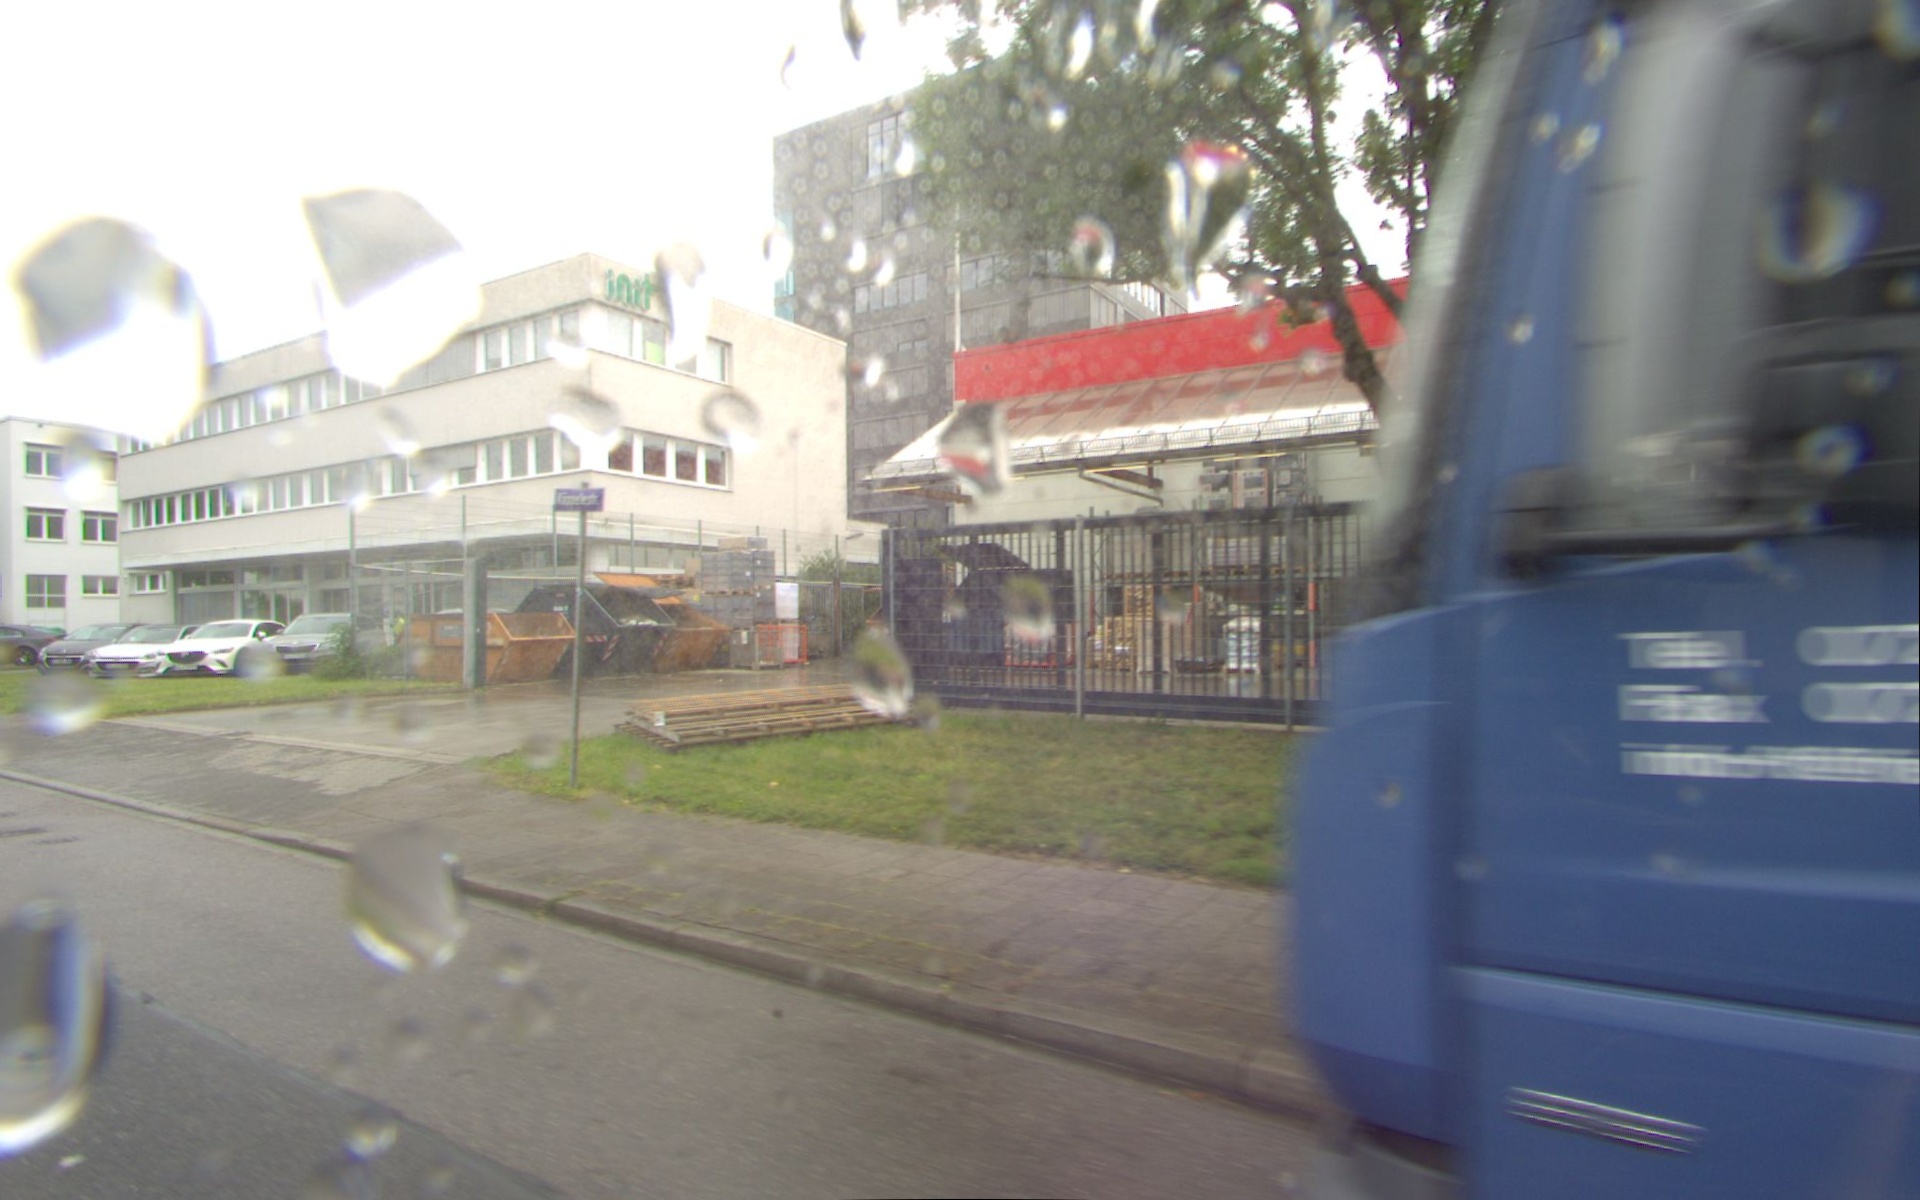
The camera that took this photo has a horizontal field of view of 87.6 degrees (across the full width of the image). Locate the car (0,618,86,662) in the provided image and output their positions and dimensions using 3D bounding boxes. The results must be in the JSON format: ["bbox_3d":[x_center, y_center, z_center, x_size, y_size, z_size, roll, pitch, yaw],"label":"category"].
[{"bbox_3d":[-33.652,1.392,34.788,4.596,1.487,1.787,0,0,-19],"label":"car"}]

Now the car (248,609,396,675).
[{"bbox_3d":[-16.040,1.008,25.423,1.838,1.547,3.997,0,-1,-12],"label":"car"}]

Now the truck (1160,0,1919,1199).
[{"bbox_3d":[4.255,-0.325,0.117,7.896,3.737,2.668,-1,-3,33],"label":"truck"}]

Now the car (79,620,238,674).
[{"bbox_3d":[-21.435,1.210,26.989,1.675,1.303,3.997,0,-1,-11],"label":"car"}]

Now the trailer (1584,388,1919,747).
[{"bbox_3d":[13.390,-0.418,12.553,9.339,4.297,2.960,-2,-1,33],"label":"trailer"}]

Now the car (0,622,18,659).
[{"bbox_3d":[-39.042,1.506,38.449,3.715,1.414,1.724,3,-1,-17],"label":"car"}]

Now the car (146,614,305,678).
[{"bbox_3d":[-18.588,1.107,25.564,1.742,1.489,3.997,0,-1,-11],"label":"car"}]

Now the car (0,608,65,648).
[{"bbox_3d":[-50.442,1.463,51.375,1.969,2.039,6.450,-1,-2,28],"label":"car"}]

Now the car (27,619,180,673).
[{"bbox_3d":[-24.115,1.255,28.374,1.675,1.411,3.765,0,-1,-11],"label":"car"}]
